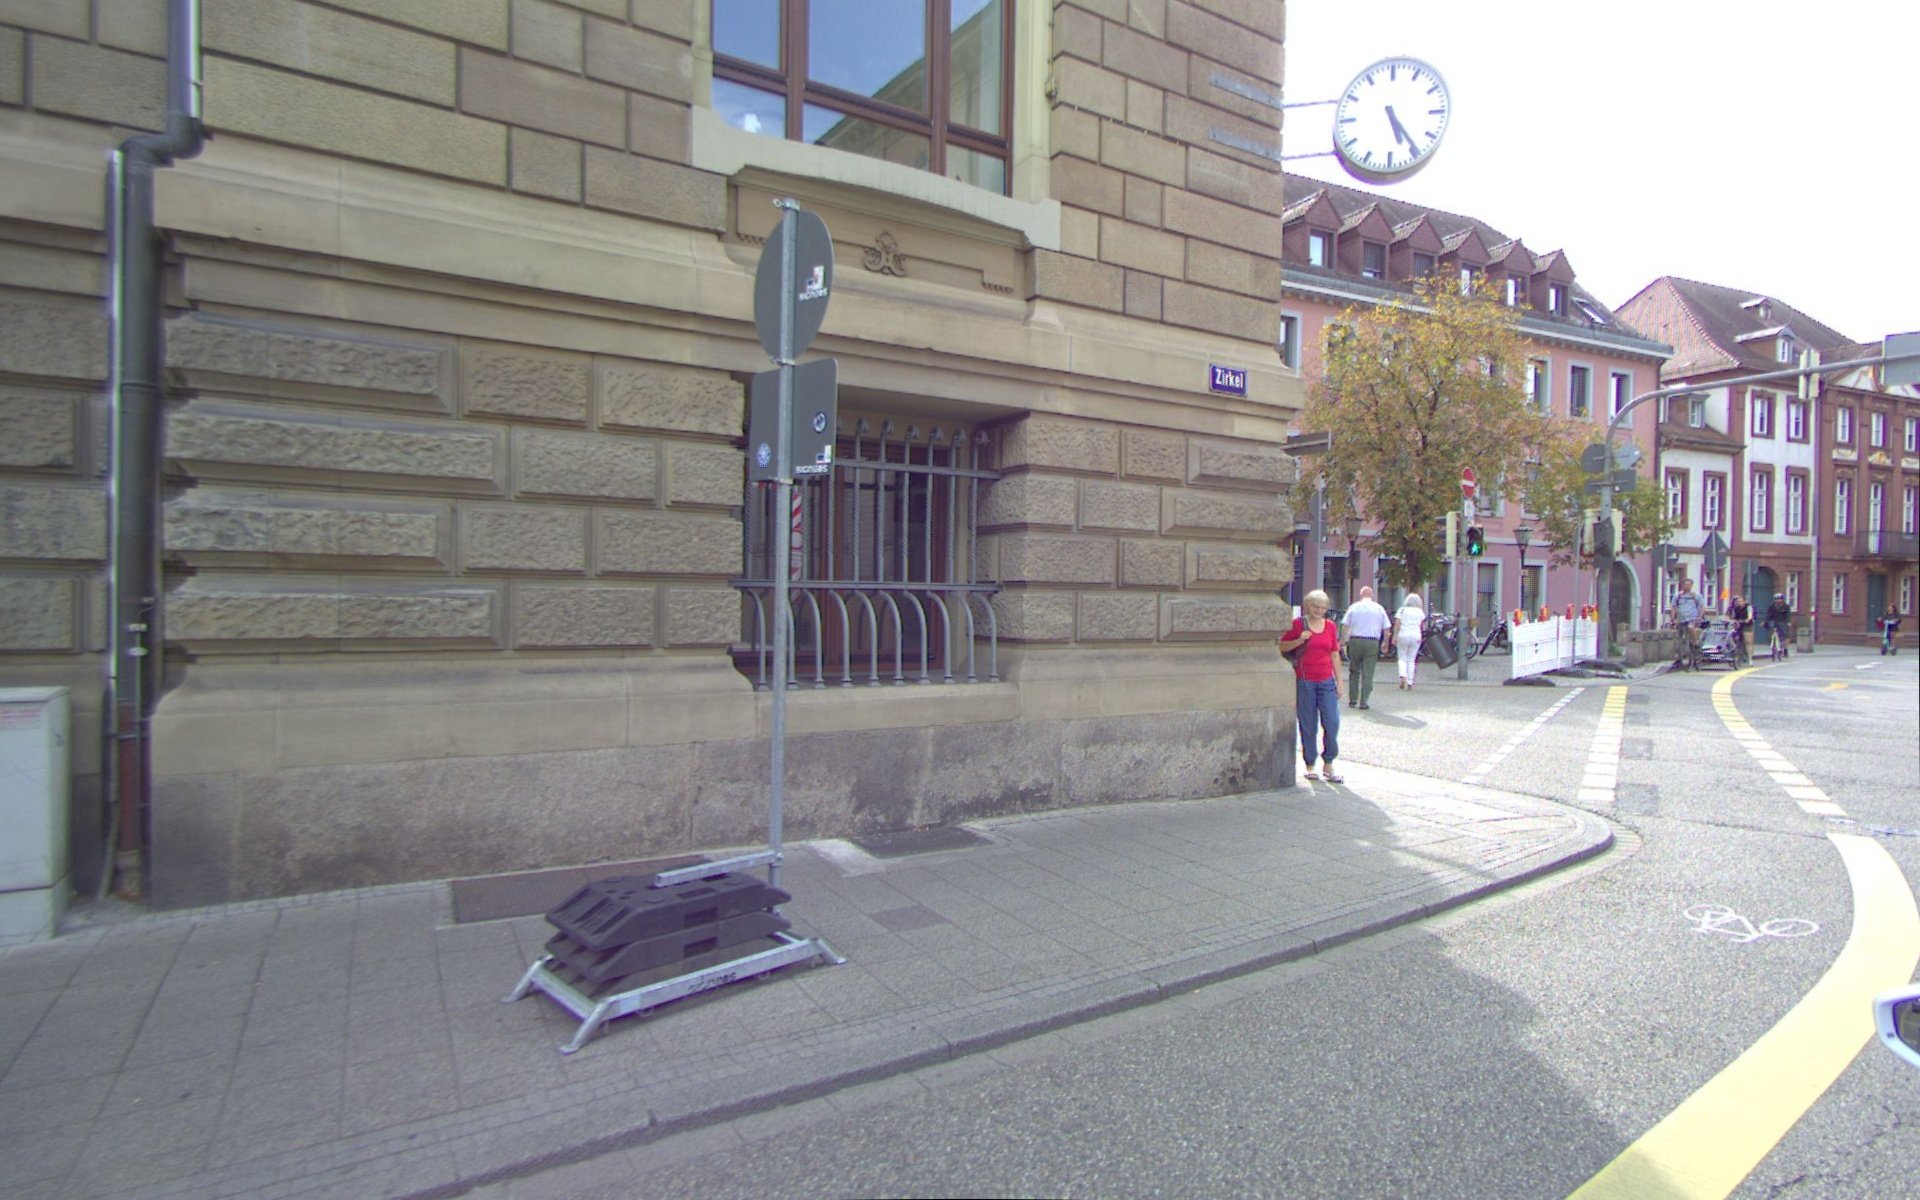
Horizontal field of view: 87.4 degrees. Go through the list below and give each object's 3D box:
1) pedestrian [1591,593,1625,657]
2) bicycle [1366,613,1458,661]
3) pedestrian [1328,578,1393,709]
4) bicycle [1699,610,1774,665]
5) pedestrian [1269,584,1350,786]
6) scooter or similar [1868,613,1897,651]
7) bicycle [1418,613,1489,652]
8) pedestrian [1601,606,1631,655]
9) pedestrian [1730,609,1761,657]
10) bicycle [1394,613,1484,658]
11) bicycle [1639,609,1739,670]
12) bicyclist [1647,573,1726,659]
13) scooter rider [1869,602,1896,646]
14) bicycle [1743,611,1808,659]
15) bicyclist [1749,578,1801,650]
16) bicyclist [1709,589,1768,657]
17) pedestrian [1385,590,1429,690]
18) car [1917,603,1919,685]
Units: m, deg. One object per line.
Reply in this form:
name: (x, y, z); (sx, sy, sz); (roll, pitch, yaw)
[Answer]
pedestrian: (17.610, 0.675, 27.305); (0.653, 1.699, 0.697); (-1, -1, 22)
bicycle: (10.677, 0.856, 23.779); (0.500, 1.073, 2.039); (1, -1, -34)
pedestrian: (5.926, 0.622, 14.872); (0.832, 1.859, 0.857); (1, 0, 22)
bicycle: (19.274, 0.915, 24.911); (2.519, 1.272, 0.918); (1, 0, -39)
pedestrian: (3.011, 0.700, 8.636); (0.604, 1.656, 0.543); (1, 0, 23)
scooter or similar: (32.084, 1.109, 34.933); (1.541, 1.272, 0.594); (1, 0, -42)
bicycle: (14.960, 0.985, 30.440); (2.025, 1.154, 0.671); (1, -1, -17)
pedestrian: (23.376, 1.074, 35.783); (0.689, 1.699, 0.661); (0, -1, -29)
pedestrian: (28.117, 1.168, 35.964); (0.689, 1.699, 0.661); (0, -1, -29)
bicycle: (11.824, 0.868, 24.847); (0.500, 1.073, 2.039); (1, -1, -34)
bicycle: (16.388, 0.856, 22.542); (3.014, 1.272, 1.048); (1, 0, -39)
bicyclist: (16.121, 0.352, 22.291); (1.353, 1.848, 1.082); (1, 0, -39)
scooter rider: (32.077, 0.832, 34.928); (0.674, 1.510, 0.594); (1, 0, -42)
bicycle: (23.146, 0.977, 28.490); (2.519, 1.272, 0.918); (1, 0, -39)
bicyclist: (23.038, 0.385, 28.403); (1.096, 1.989, 0.918); (1, 0, -39)
bicyclist: (19.297, 0.564, 24.895); (1.054, 1.630, 0.918); (1, 0, -39)
pedestrian: (7.752, 0.681, 17.447); (0.653, 1.699, 0.697); (-1, -1, 22)
car: (16.830, 0.784, 16.225); (1.658, 1.488, 4.084); (2, 0, 40)
